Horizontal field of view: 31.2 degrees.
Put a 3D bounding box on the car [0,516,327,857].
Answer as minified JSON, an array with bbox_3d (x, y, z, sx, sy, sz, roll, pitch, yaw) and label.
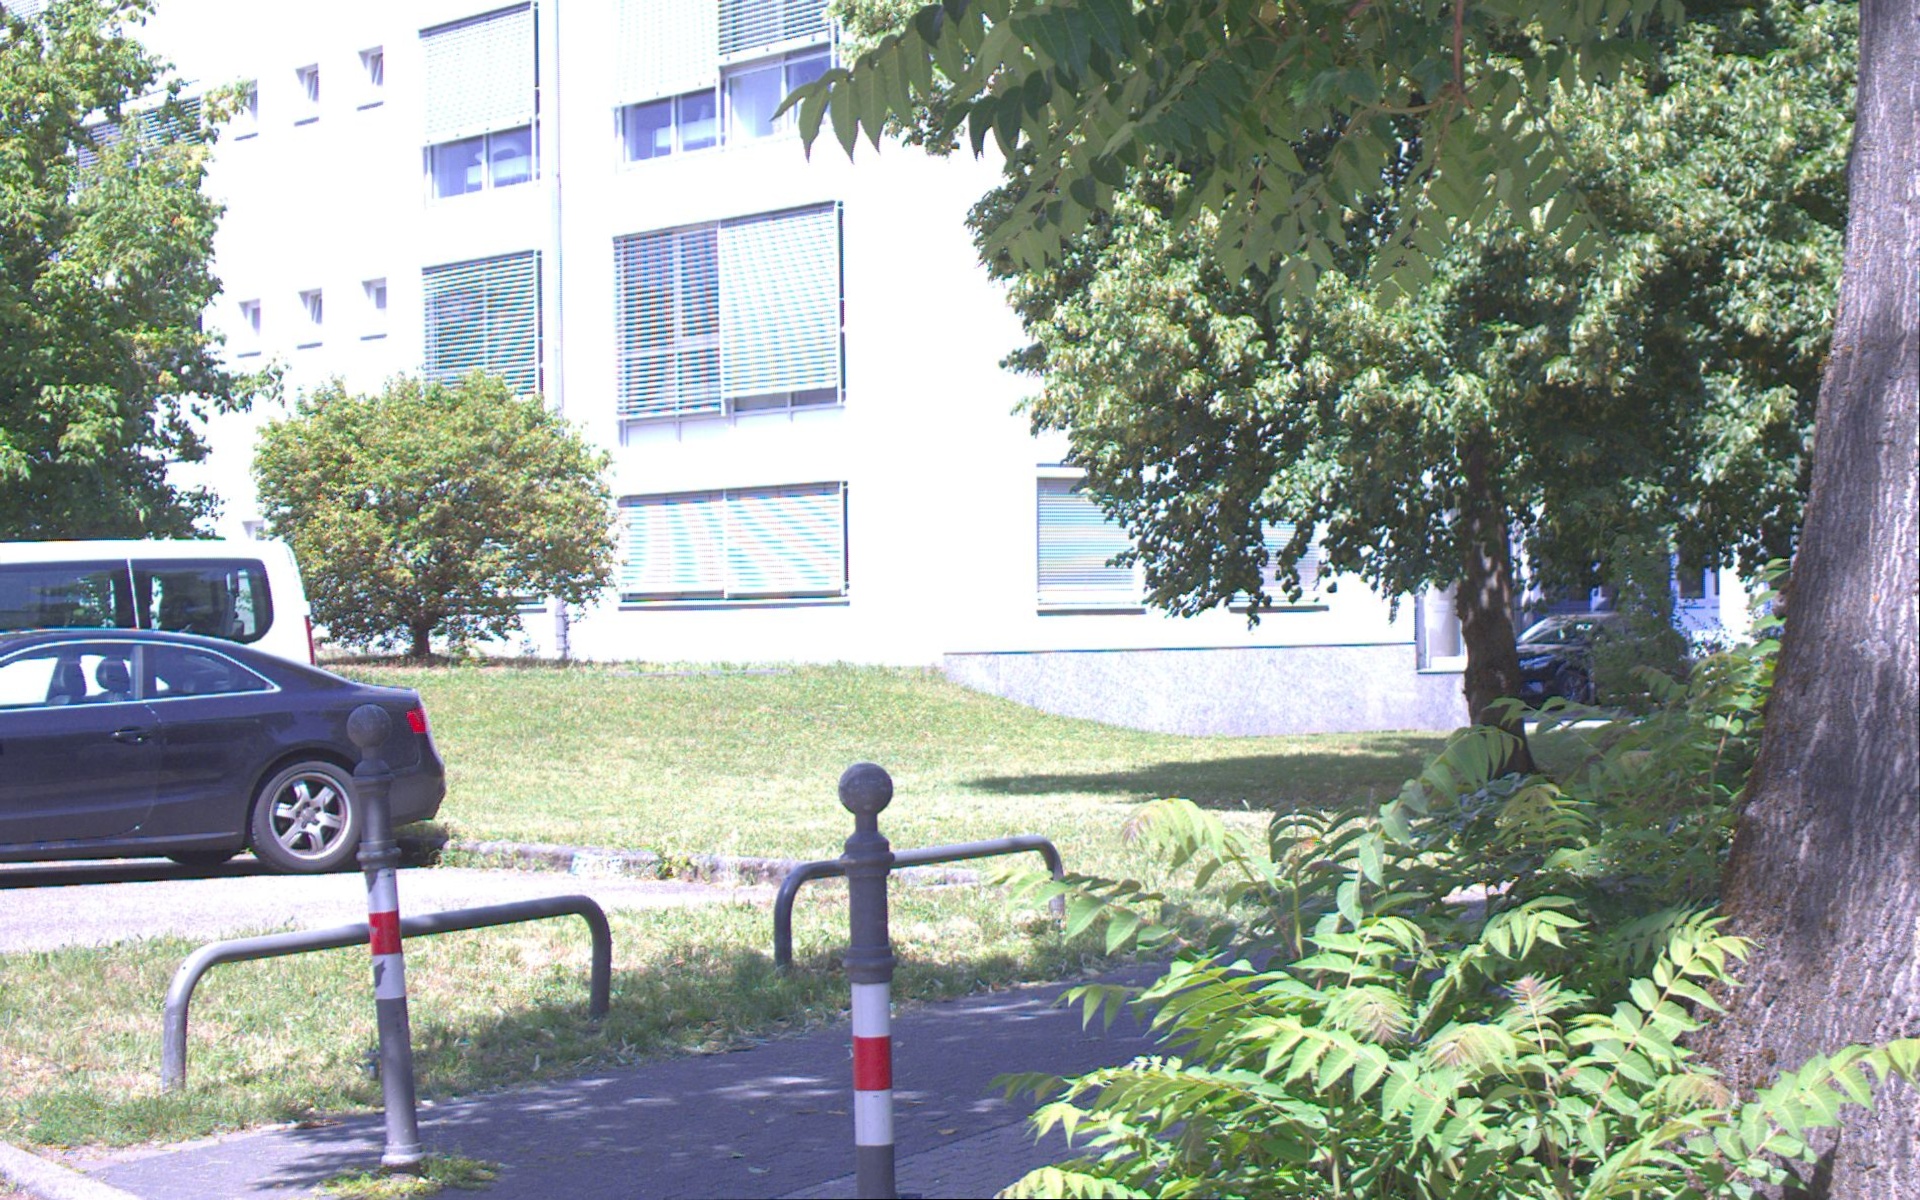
[{"bbox_3d":[-6.483,0.526,20.883,4.760,2.007,2.000,-1,-1,-34],"label":"car"}]

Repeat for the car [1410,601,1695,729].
[{"bbox_3d":[8.019,0.848,46.470,3.617,1.615,1.673,-1,0,-34],"label":"car"}]

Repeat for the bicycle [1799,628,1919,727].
[{"bbox_3d":[10.523,0.879,39.481,1.934,1.081,0.601,-1,0,-36],"label":"bicycle"}]

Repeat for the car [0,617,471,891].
[{"bbox_3d":[-5.133,0.806,18.491,4.612,1.347,1.833,-1,0,-34],"label":"car"}]
